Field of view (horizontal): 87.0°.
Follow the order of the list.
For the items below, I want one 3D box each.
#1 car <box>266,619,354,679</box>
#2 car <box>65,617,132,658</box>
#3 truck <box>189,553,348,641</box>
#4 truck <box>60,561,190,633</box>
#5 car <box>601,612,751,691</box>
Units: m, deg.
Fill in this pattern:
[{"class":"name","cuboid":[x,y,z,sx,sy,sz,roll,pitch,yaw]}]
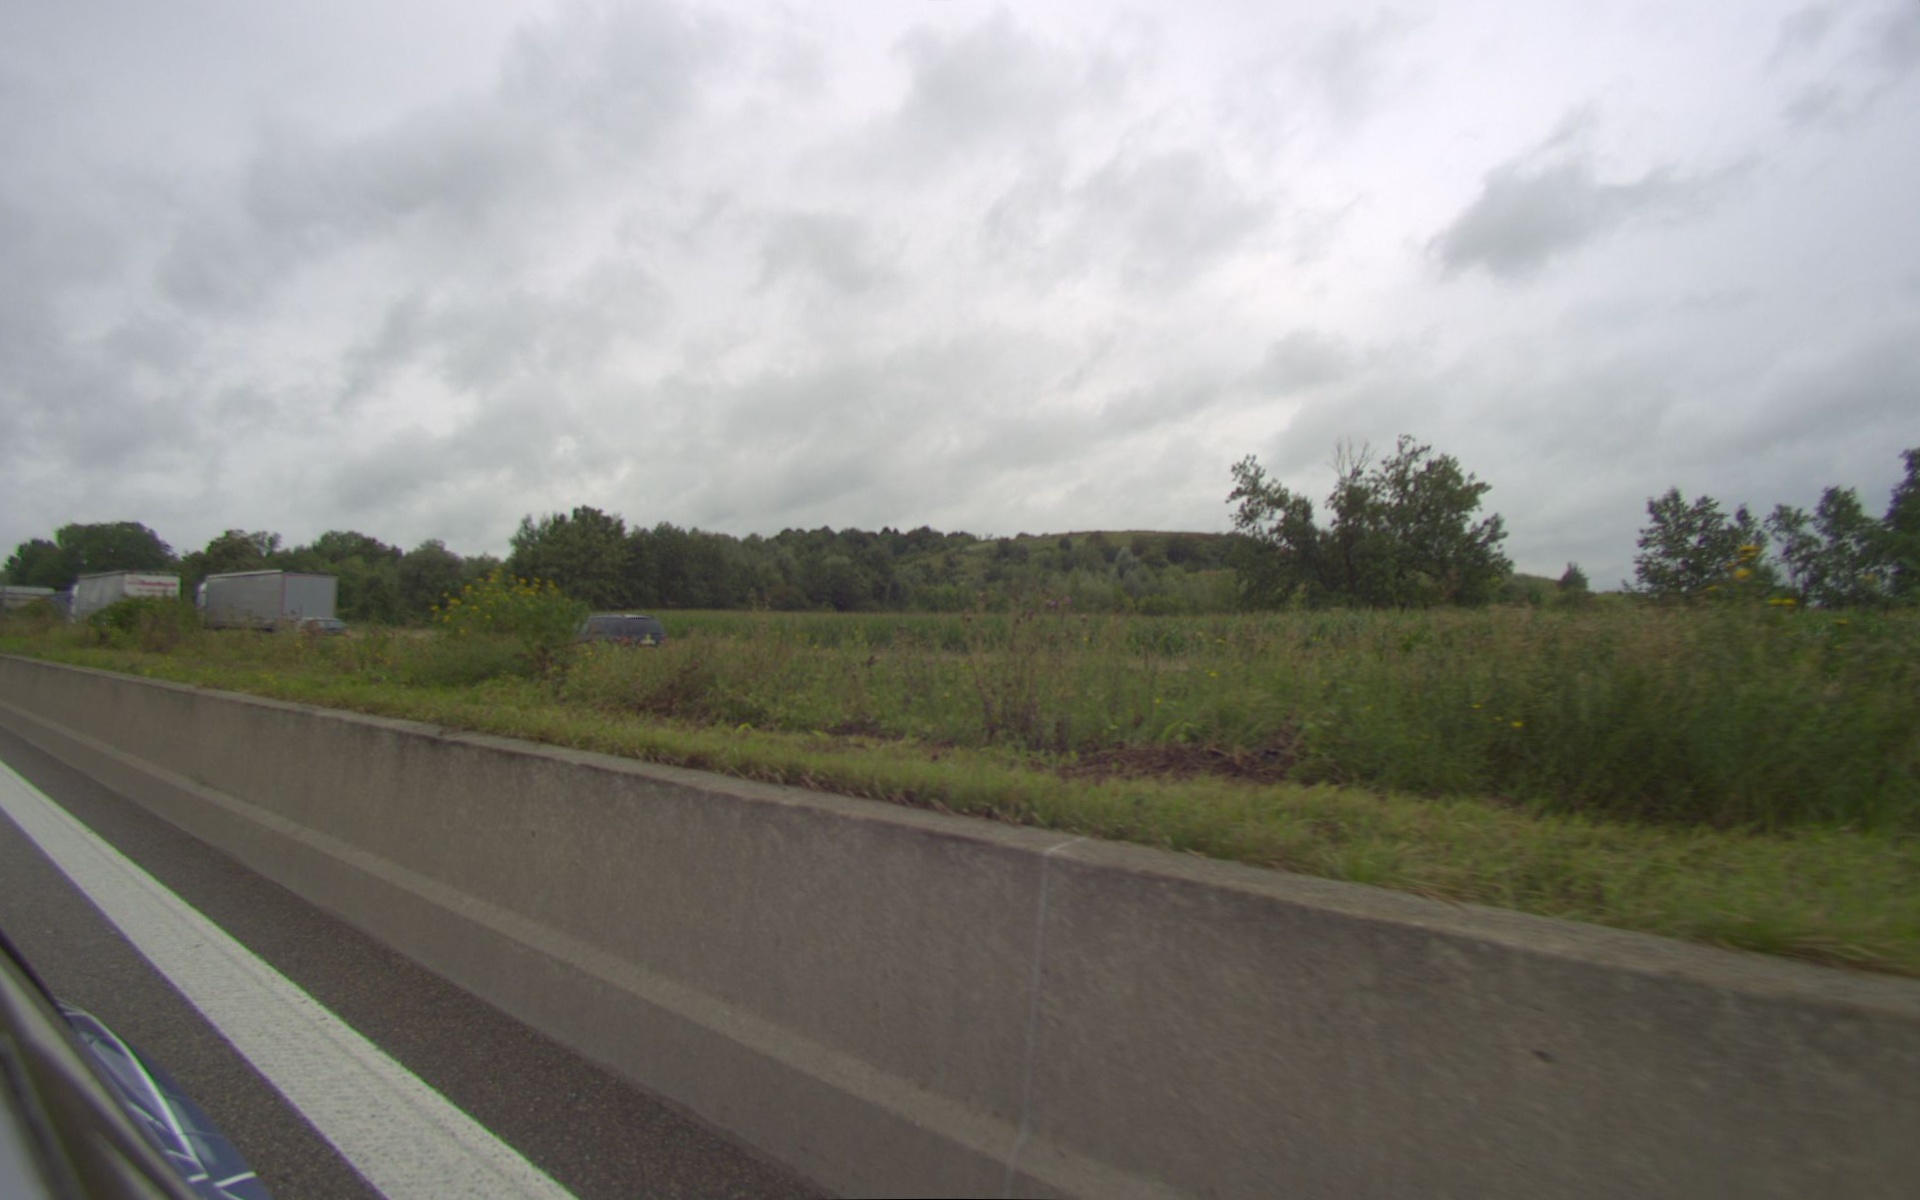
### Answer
[{"class":"car","cuboid":[-24.663,1.801,38.361,3.998,2.029,1.790,1,1,41]},{"class":"car","cuboid":[-37.905,1.606,44.491,3.998,1.652,1.657,-1,0,41]},{"class":"truck","cuboid":[-39.284,-0.073,57.014,16.892,4.375,3.290,-1,0,41]},{"class":"truck","cuboid":[-50.913,-0.086,61.389,16.103,3.910,3.562,-1,0,41]},{"class":"car","cuboid":[-8.136,1.374,28.765,4.479,2.029,1.973,-1,0,41]}]
